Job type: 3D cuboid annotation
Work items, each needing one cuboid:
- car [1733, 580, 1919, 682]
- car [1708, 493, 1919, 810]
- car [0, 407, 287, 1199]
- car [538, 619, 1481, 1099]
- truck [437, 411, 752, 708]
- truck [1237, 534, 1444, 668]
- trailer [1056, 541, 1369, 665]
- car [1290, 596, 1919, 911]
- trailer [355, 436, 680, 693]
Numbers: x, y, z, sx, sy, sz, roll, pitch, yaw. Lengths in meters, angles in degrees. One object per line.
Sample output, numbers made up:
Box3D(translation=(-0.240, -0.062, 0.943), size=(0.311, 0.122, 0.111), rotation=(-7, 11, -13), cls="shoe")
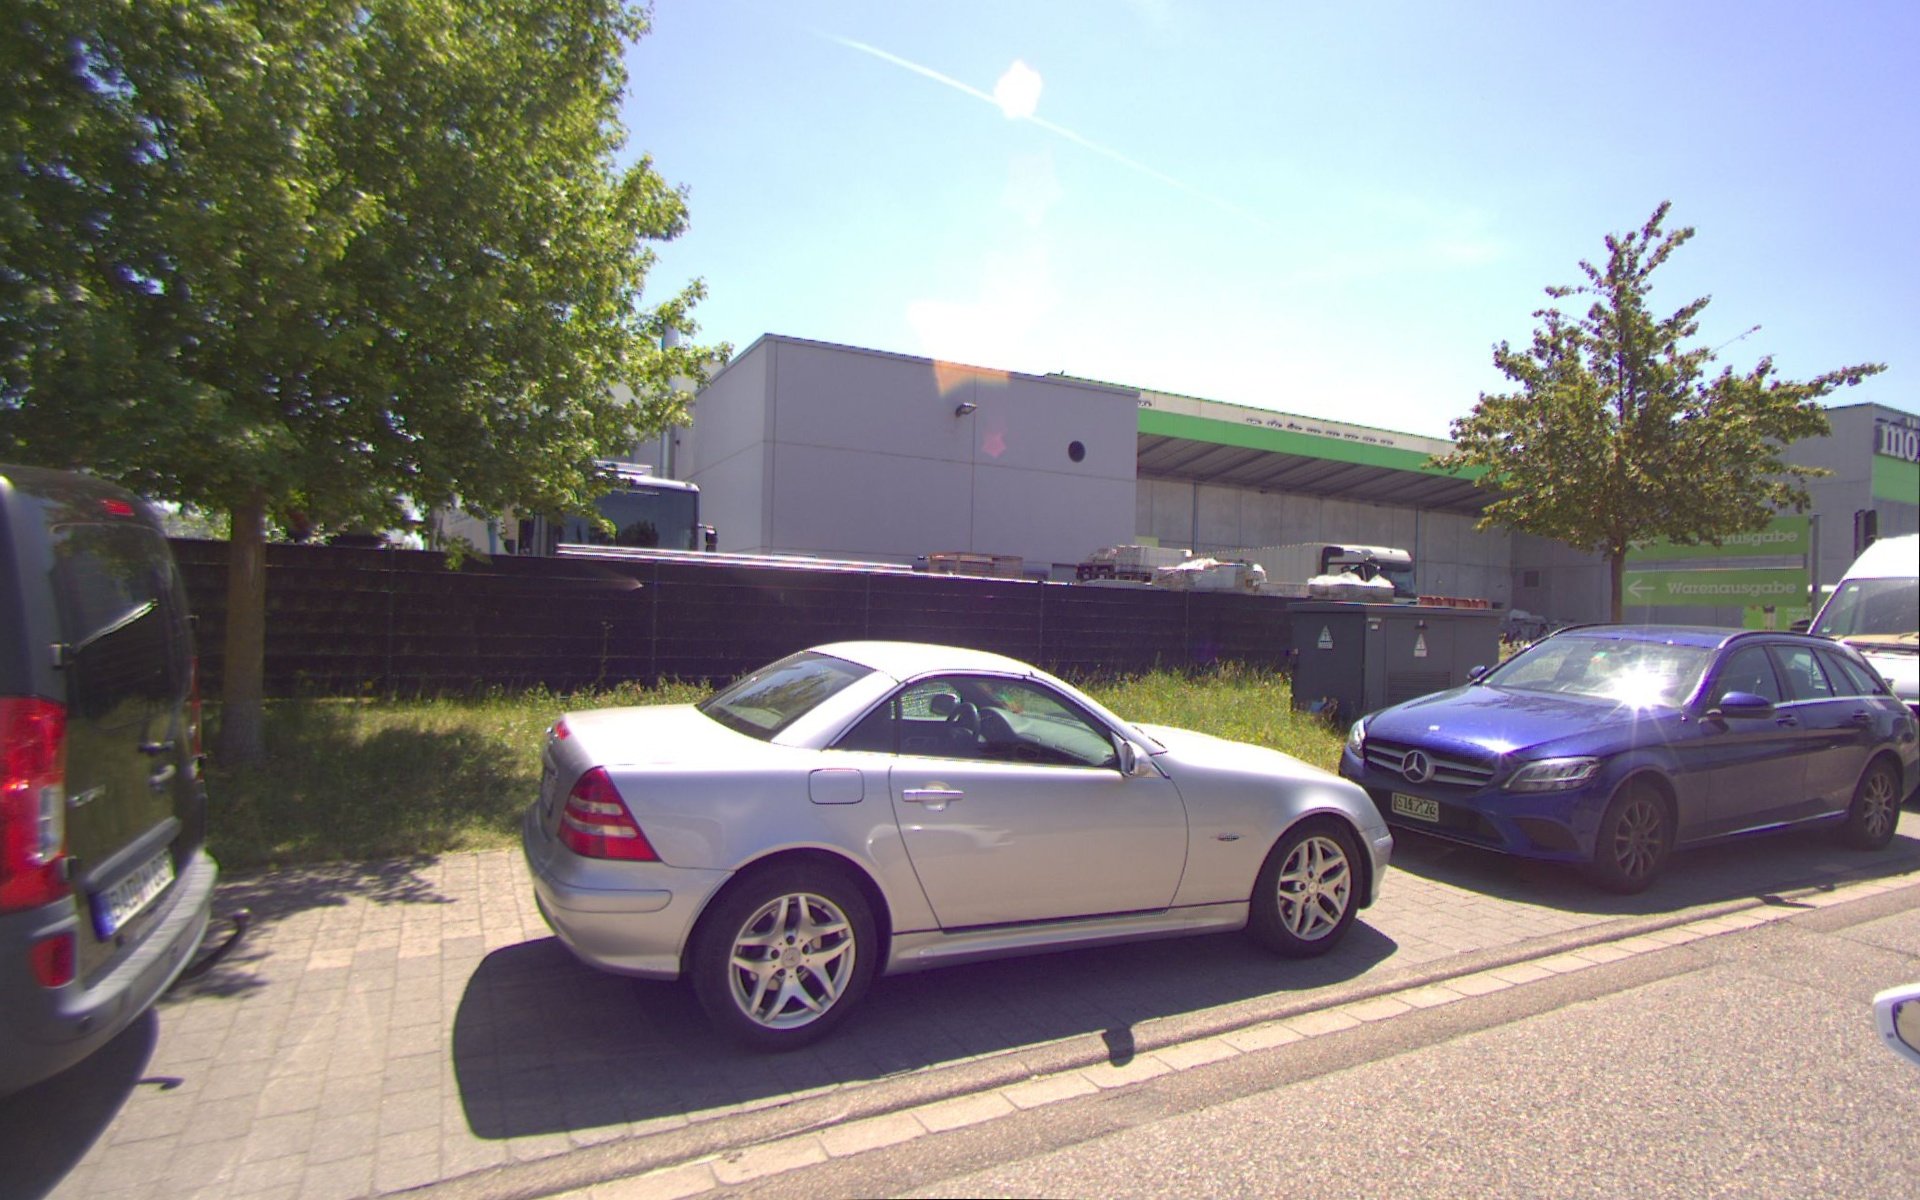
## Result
Box3D(translation=(27.457, 0.892, 30.374), size=(2.490, 2.862, 5.949), rotation=(2, 0, -28), cls="car")
Box3D(translation=(10.470, 0.505, 10.077), size=(6.008, 2.633, 2.314), rotation=(2, 1, -28), cls="car")
Box3D(translation=(-4.010, 0.435, 2.141), size=(4.031, 1.835, 1.824), rotation=(2, 1, -27), cls="car")
Box3D(translation=(0.289, 0.826, 4.536), size=(3.948, 1.329, 1.638), rotation=(2, 1, -27), cls="car")
Box3D(translation=(-6.357, -0.516, 16.927), size=(3.130, 4.023, 5.985), rotation=(2, -1, -39), cls="truck")
Box3D(translation=(12.832, 0.123, 34.420), size=(3.178, 4.141, 6.083), rotation=(2, -1, -27), cls="truck")
Box3D(translation=(9.407, 0.248, 41.174), size=(3.178, 4.141, 15.265), rotation=(2, -2, -27), cls="trailer")
Box3D(translation=(4.667, 0.845, 6.964), size=(4.566, 1.561, 1.824), rotation=(2, 1, -28), cls="car")
Box3D(translation=(-10.101, -0.542, 21.531), size=(3.130, 4.023, 12.394), rotation=(2, -1, -39), cls="trailer")
